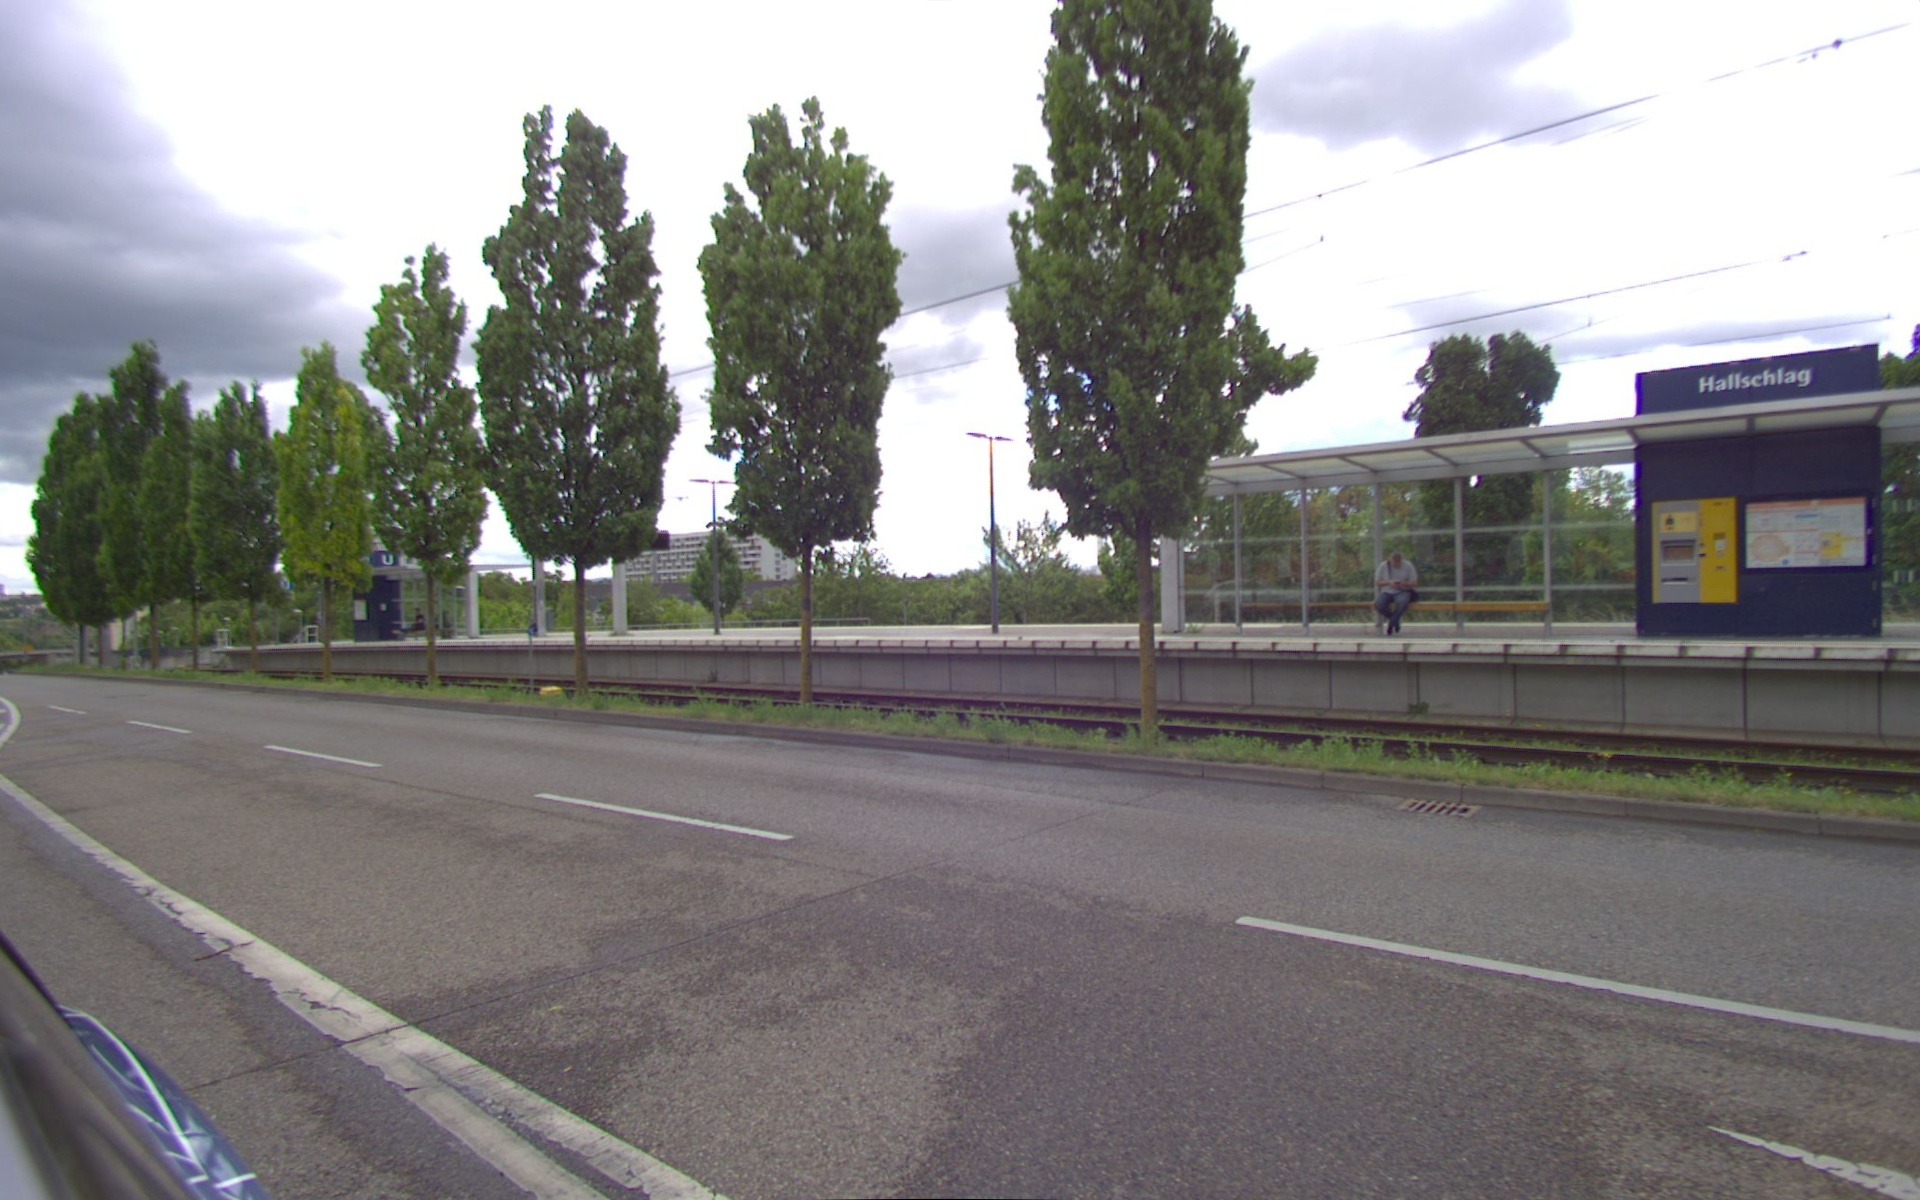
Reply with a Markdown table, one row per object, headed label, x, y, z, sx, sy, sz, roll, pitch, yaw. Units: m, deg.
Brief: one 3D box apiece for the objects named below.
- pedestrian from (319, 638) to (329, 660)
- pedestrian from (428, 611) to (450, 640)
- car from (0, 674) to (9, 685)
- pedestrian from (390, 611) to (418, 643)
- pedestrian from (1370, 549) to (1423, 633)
| label | x | y | z | sx | sy | sz | roll | pitch | yaw |
| --- | --- | --- | --- | --- | --- | --- | --- | --- | --- |
| pedestrian | -47.803 | 3.674 | 76.035 | 0.501 | 1.637 | 0.646 | 0 | -3 | -44 |
| pedestrian | -20.029 | 0.982 | 38.879 | 0.470 | 1.087 | 0.601 | -4 | -3 | 40 |
| car | -135.792 | 11.302 | 143.267 | 1.695 | 1.533 | 3.748 | 0 | -3 | -43 |
| pedestrian | -21.348 | 1.036 | 38.846 | 0.665 | 1.208 | 0.753 | -3 | -2 | 40 |
| pedestrian | 6.889 | -0.138 | 15.967 | 0.658 | 1.279 | 0.604 | 0 | 0 | 36 |
